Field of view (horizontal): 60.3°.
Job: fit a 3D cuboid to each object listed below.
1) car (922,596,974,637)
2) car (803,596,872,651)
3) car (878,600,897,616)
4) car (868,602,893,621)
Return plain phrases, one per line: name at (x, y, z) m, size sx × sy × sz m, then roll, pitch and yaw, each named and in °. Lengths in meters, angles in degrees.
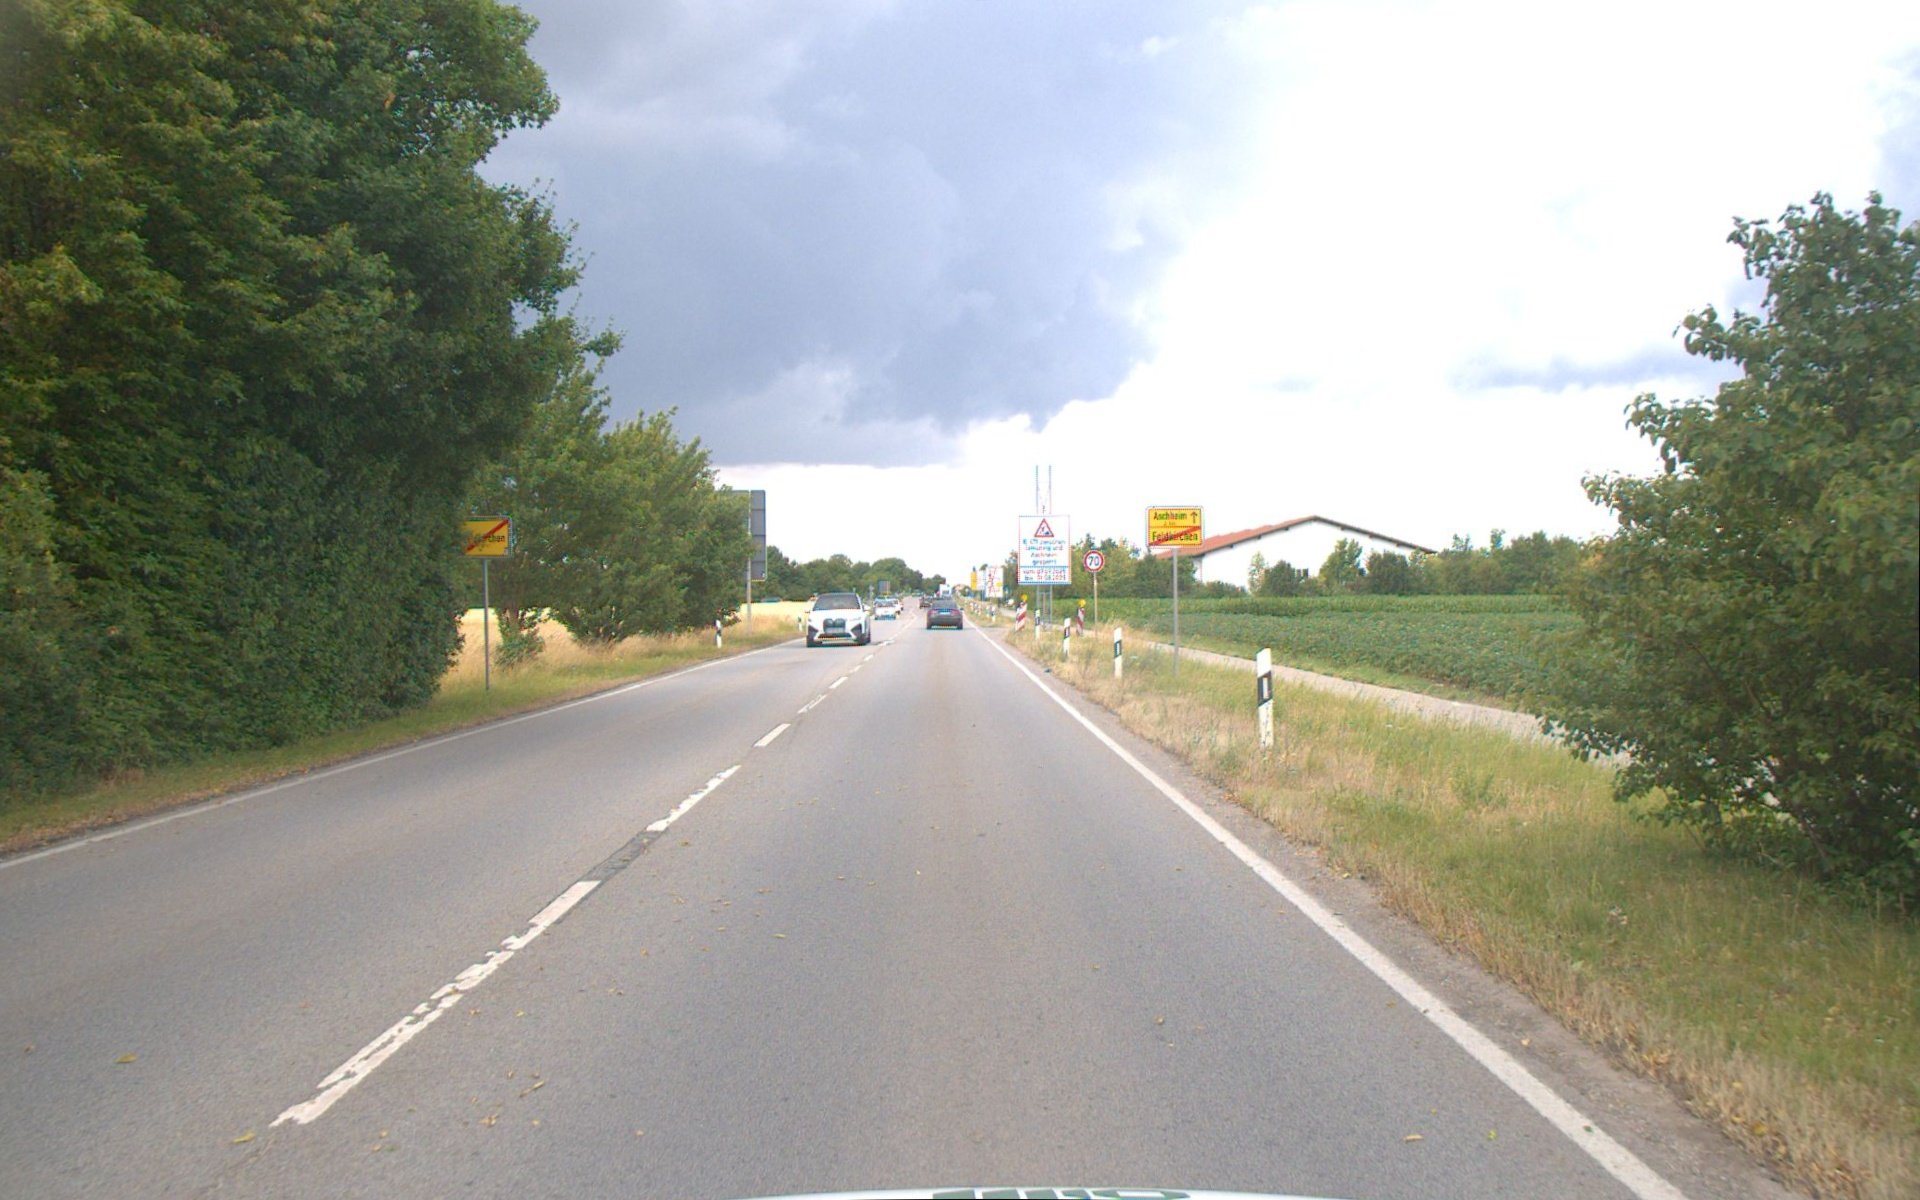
car at (-0.641, 0.826, 82.532) m, size 2.325 × 1.913 × 4.475 m, roll -2°, pitch 0°, yaw -3°
car at (-3.991, 0.739, 54.592) m, size 1.953 × 1.713 × 4.809 m, roll -1°, pitch 0°, yaw -1°
car at (-7.159, 0.787, 163.681) m, size 1.769 × 1.482 × 4.113 m, roll -1°, pitch 0°, yaw -1°
car at (-6.039, 0.886, 125.725) m, size 1.693 × 1.387 × 3.949 m, roll -1°, pitch 0°, yaw -1°
